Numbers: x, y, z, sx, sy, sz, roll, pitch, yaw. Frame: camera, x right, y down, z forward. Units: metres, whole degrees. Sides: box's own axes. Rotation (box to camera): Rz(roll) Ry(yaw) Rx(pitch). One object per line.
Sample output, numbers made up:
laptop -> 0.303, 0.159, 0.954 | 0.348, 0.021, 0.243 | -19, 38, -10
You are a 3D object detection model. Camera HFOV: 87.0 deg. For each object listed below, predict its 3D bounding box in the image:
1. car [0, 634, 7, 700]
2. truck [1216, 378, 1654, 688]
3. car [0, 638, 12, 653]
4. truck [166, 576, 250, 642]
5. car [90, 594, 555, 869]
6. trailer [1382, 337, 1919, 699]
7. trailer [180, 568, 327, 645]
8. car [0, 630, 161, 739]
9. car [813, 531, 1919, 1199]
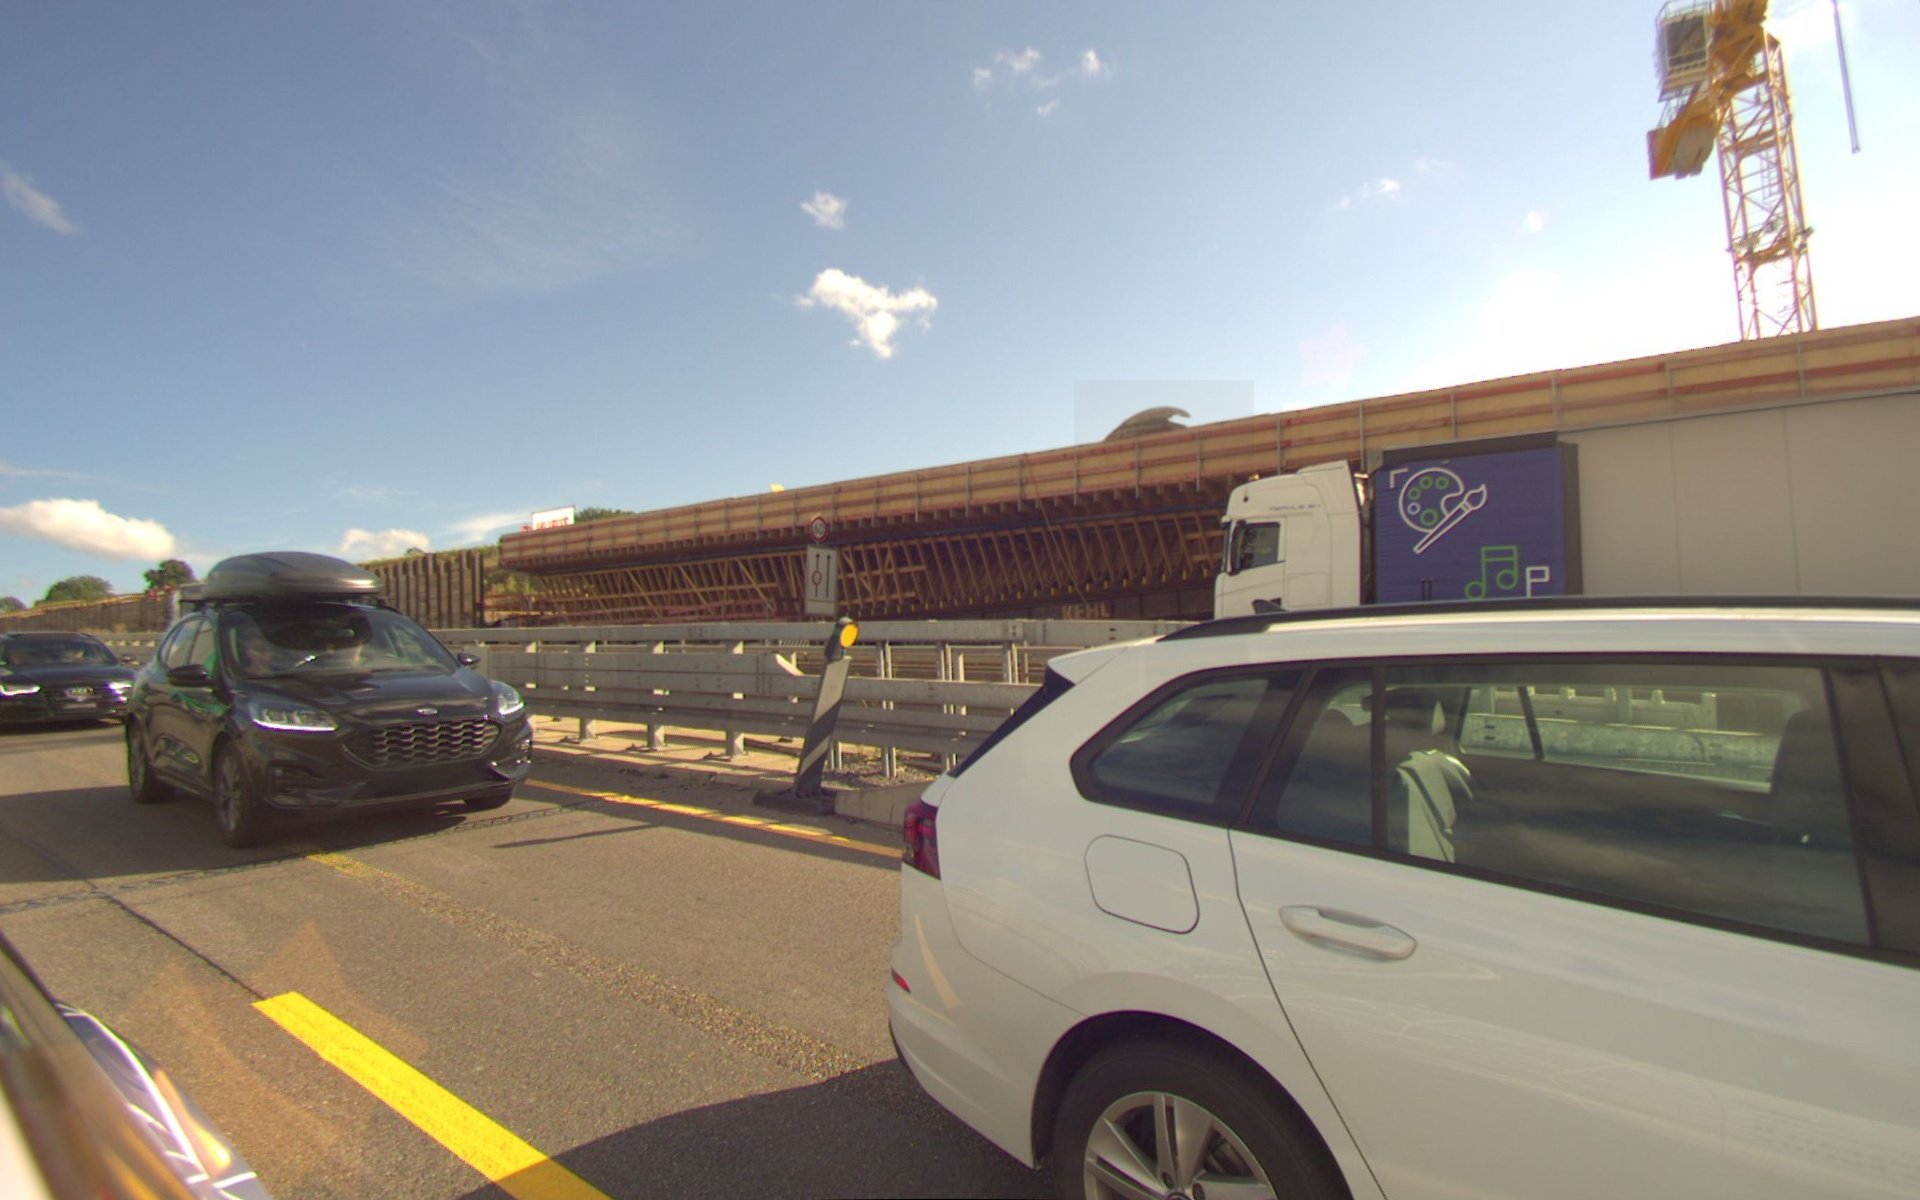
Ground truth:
car -> -23.234, 1.557, 22.892 | 4.405, 1.441, 1.924 | -2, 1, 40
truck -> 7.574, -0.872, 16.583 | 5.967, 4.169, 2.684 | -1, 0, 41
car -> -101.737, 4.867, 106.712 | 4.403, 1.441, 1.925 | -1, 1, 39
truck -> -43.185, 0.518, 58.096 | 4.806, 3.656, 2.814 | -1, 0, 40
car -> -5.094, 0.803, 7.830 | 4.380, 1.554, 1.781 | -2, -2, 40
trailer -> 12.642, -0.970, 12.162 | 13.804, 4.187, 2.660 | -1, 0, 41
trailer -> -37.546, 0.398, 53.456 | 13.515, 3.694, 2.834 | -1, 0, 39
car -> -14.417, 1.226, 15.970 | 4.500, 1.441, 1.925 | -1, -2, 39
car -> 1.928, 0.686, 1.634 | 4.513, 1.502, 1.752 | -1, -2, 41
